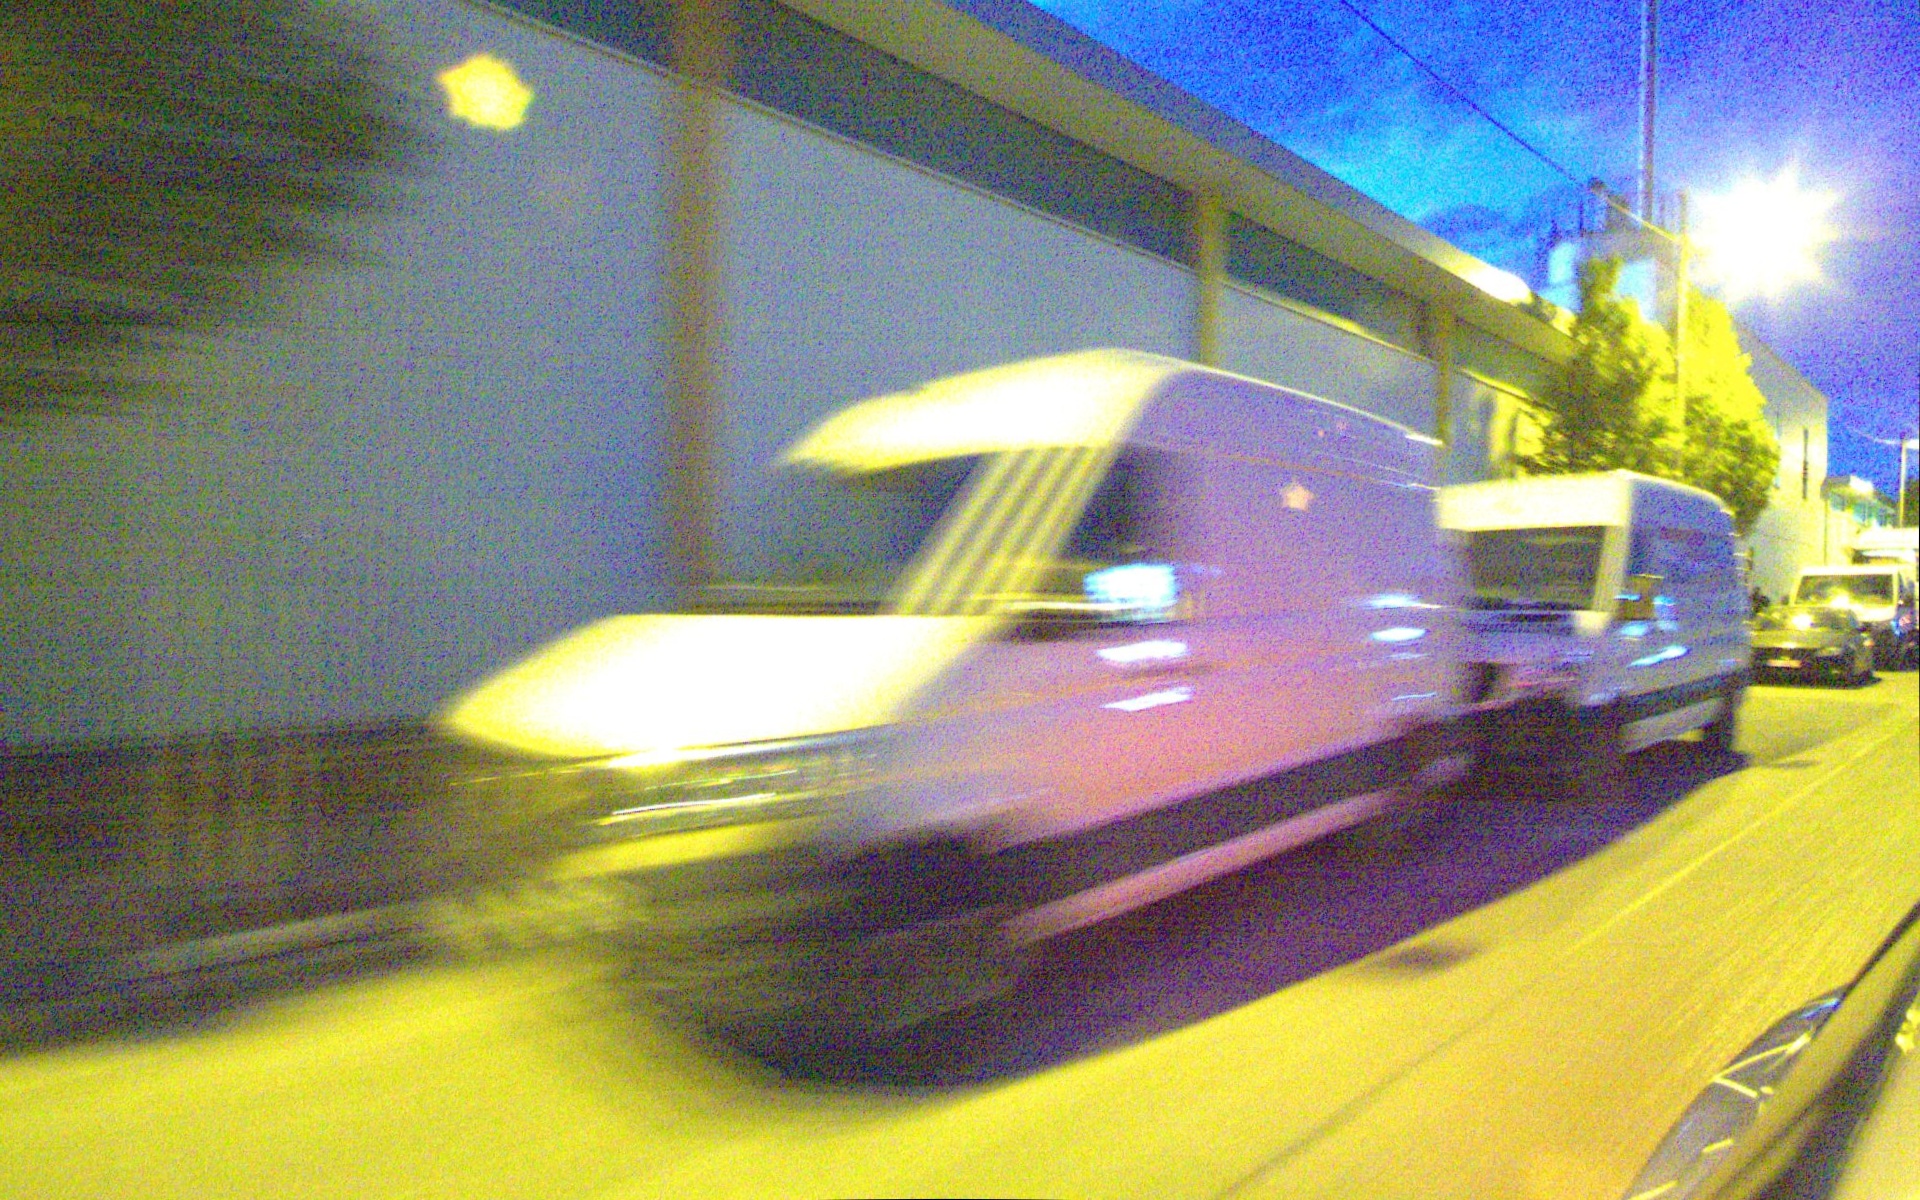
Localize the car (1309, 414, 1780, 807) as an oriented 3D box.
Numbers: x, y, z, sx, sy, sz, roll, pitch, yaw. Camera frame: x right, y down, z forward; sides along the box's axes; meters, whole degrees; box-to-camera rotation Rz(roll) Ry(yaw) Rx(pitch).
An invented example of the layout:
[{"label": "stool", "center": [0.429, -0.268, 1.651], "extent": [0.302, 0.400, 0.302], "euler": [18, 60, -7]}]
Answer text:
[{"label": "car", "center": [5.725, 0.088, 9.430], "extent": [5.910, 2.604, 1.996], "euler": [0, -2, -42]}]

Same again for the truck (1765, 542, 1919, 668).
[{"label": "truck", "center": [21.490, 0.082, 24.059], "extent": [6.479, 2.626, 2.407], "euler": [0, 1, -40]}]

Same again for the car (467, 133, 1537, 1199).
[{"label": "car", "center": [0.866, 0.191, 5.245], "extent": [5.812, 2.604, 2.129], "euler": [0, -2, -44]}]

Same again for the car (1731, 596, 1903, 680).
[{"label": "car", "center": [16.490, 0.664, 19.378], "extent": [4.823, 1.426, 1.832], "euler": [0, -2, -42]}]

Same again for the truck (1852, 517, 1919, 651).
[{"label": "truck", "center": [29.178, -0.480, 30.496], "extent": [5.137, 3.811, 2.770], "euler": [0, 0, -41]}]

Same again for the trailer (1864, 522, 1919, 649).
[{"label": "trailer", "center": [34.316, -0.503, 35.015], "extent": [14.401, 3.811, 2.770], "euler": [-1, 0, -41]}]
